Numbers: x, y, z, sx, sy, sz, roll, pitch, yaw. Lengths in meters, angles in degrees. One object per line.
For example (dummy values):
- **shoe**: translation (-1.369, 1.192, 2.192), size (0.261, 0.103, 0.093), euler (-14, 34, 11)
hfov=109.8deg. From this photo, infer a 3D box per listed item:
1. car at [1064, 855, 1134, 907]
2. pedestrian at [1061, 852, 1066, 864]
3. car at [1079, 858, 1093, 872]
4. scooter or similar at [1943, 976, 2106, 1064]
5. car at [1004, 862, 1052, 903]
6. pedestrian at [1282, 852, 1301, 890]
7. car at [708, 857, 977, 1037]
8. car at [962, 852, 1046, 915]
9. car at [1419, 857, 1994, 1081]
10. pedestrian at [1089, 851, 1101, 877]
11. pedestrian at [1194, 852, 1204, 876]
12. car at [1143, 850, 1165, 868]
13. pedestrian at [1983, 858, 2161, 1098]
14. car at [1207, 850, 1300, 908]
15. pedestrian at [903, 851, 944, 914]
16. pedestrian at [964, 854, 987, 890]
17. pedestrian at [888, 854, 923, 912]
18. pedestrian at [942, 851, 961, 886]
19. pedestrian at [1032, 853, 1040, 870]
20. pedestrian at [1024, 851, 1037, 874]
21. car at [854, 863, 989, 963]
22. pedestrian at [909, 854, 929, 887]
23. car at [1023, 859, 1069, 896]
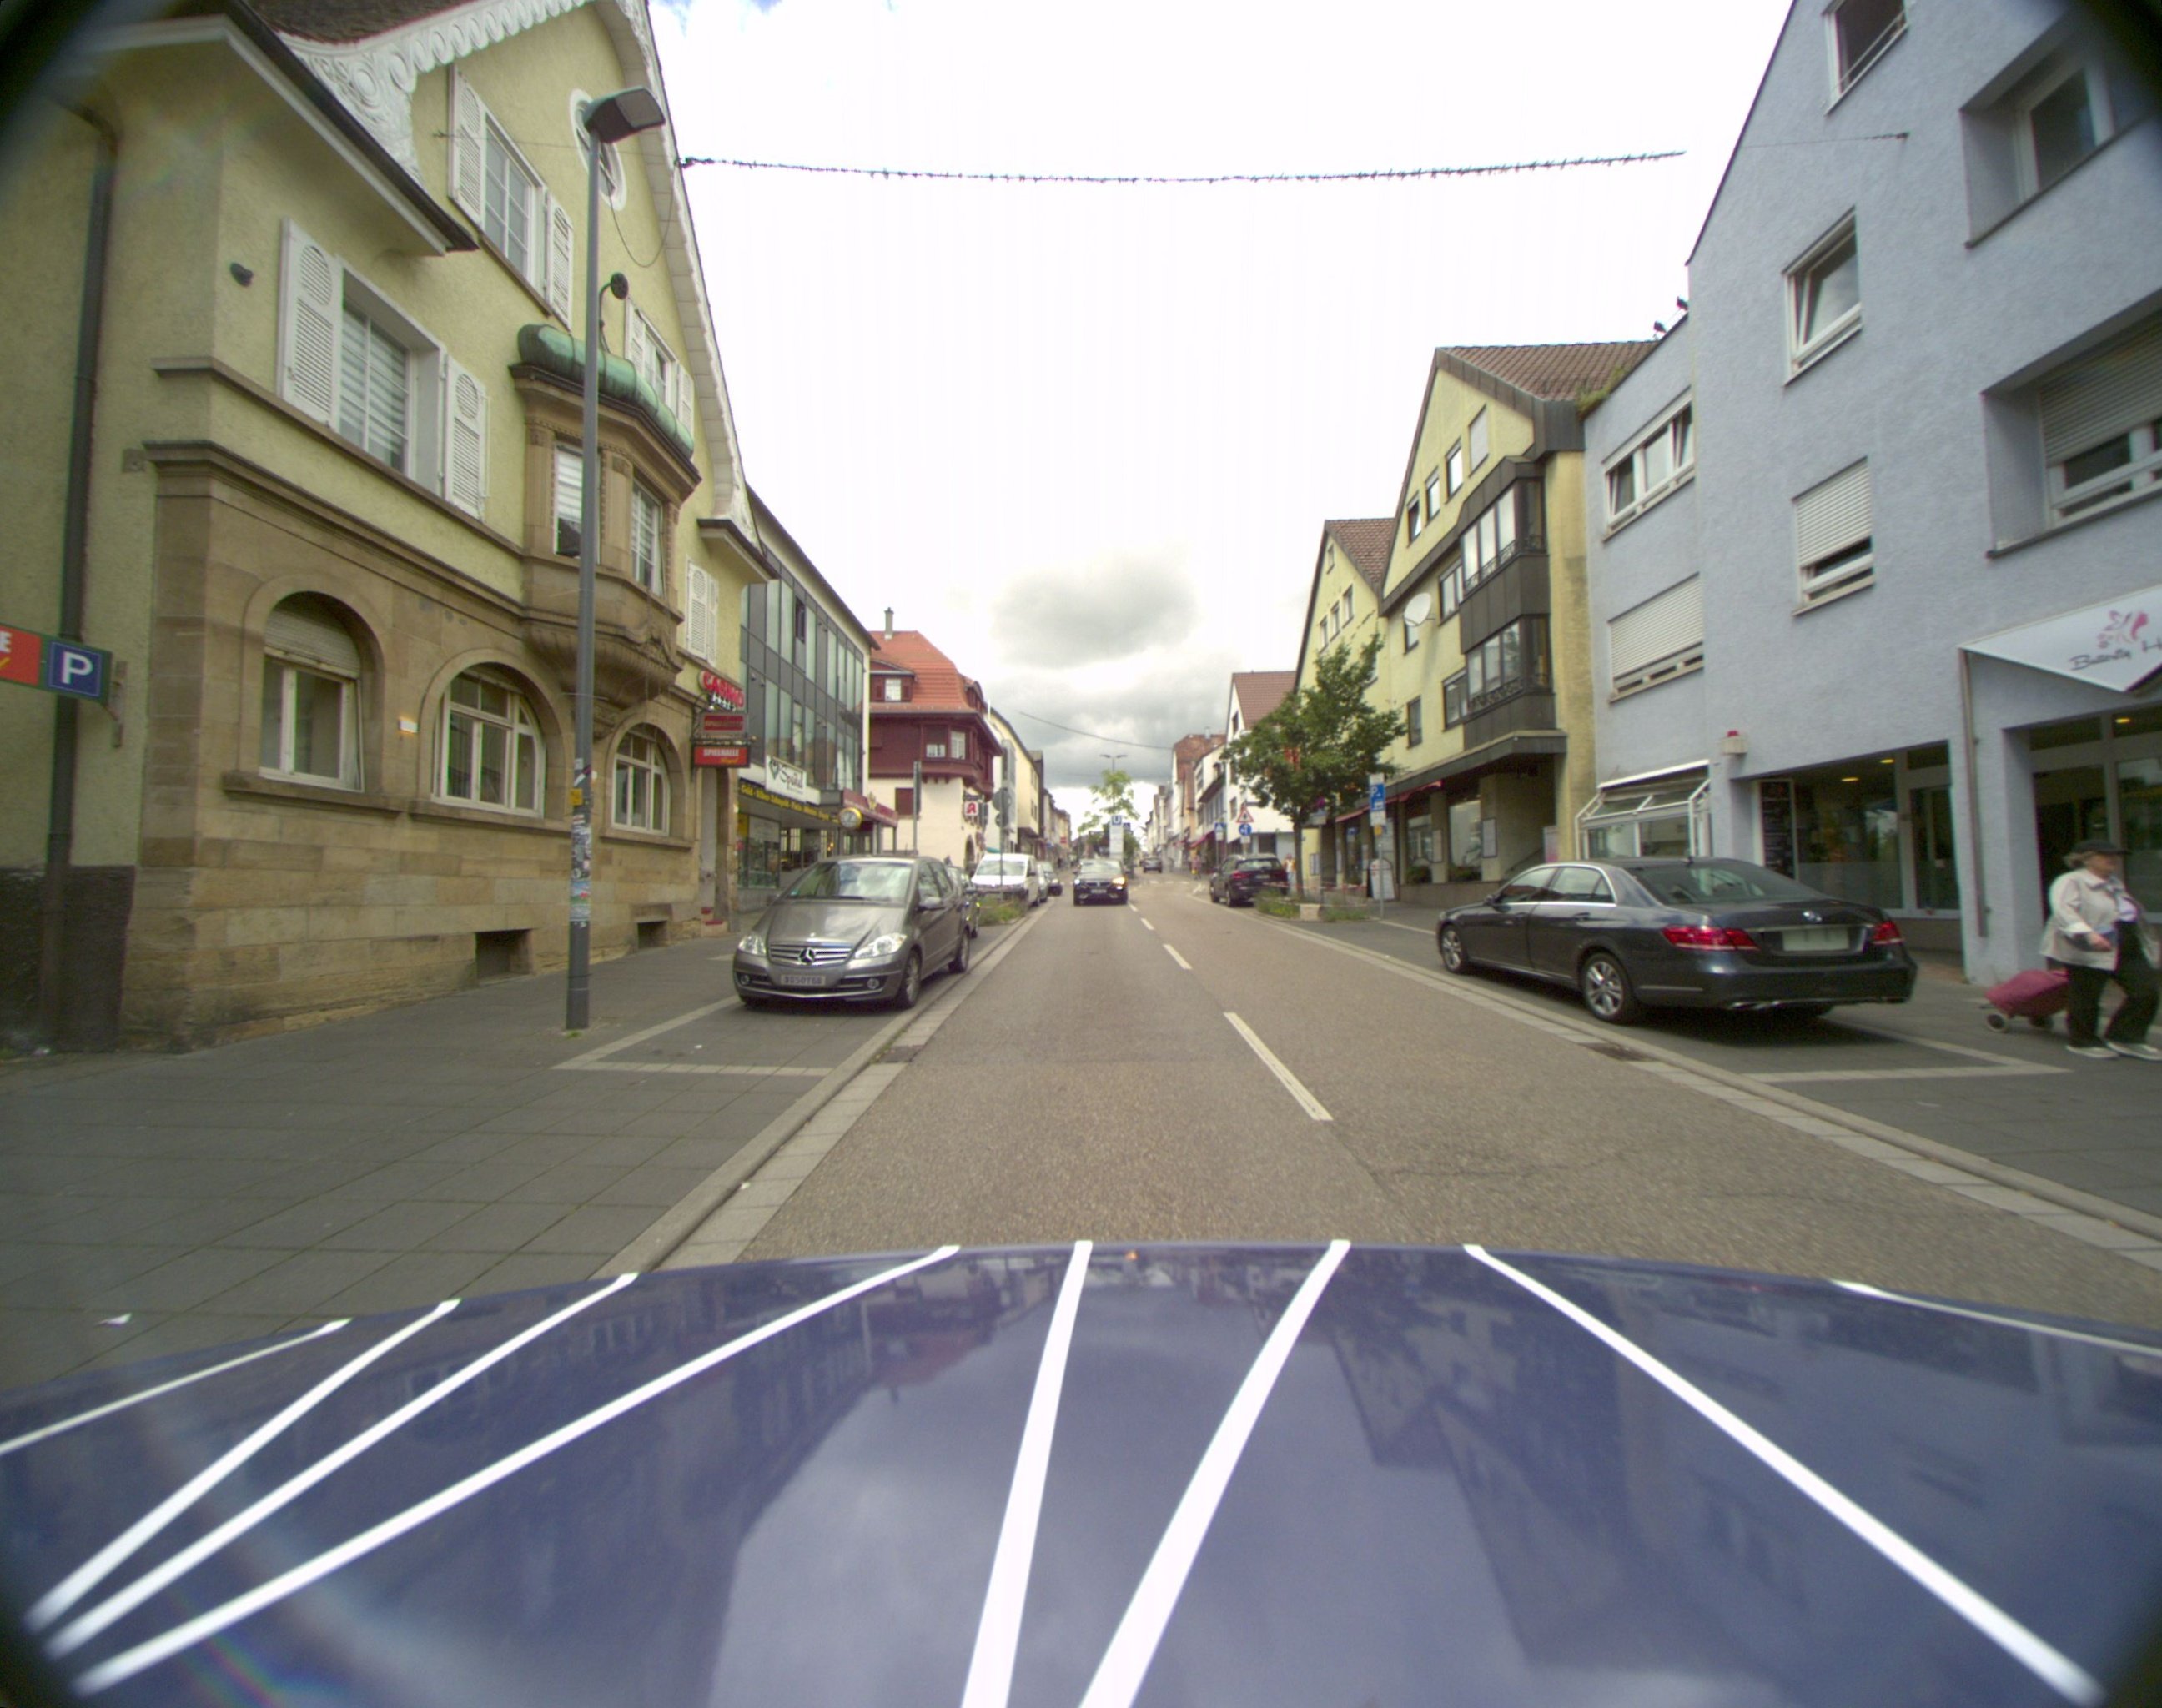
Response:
- **car**: translation (0.717, 0.883, 26.814), size (1.913, 1.560, 4.374), euler (-3, 0, 8)
- **pedestrian**: translation (-2.512, 0.554, 107.600), size (0.663, 1.696, 0.780), euler (0, 1, -1)
- **car**: translation (0.741, 1.620, 115.309), size (1.998, 2.002, 4.000), euler (-1, 0, 2)
- **scooter or similar**: translation (7.190, 1.254, 5.816), size (0.526, 0.516, 0.573), euler (-3, 1, 0)
- **car**: translation (-2.004, 1.062, 29.669), size (1.707, 1.459, 3.999), euler (0, 0, -2)
- **pedestrian**: translation (9.780, 0.795, 35.346), size (0.638, 1.728, 0.835), euler (1, 1, -1)
- **car**: translation (-2.485, 0.866, 8.950), size (1.752, 1.598, 3.801), euler (1, 0, 4)
- **car**: translation (-2.366, 0.857, 24.556), size (1.881, 1.789, 4.733), euler (-1, 0, 4)
- **car**: translation (5.601, 0.842, 7.906), size (1.931, 1.484, 4.842), euler (-3, 0, 0)
- **pedestrian**: translation (0.941, 0.679, 51.715), size (0.676, 1.791, 0.787), euler (-1, 1, -12)
- **pedestrian**: translation (8.598, 0.727, 55.342), size (0.696, 1.730, 0.825), euler (0, 1, 3)
- **car**: translation (7.329, 0.465, 76.405), size (1.967, 1.612, 4.356), euler (2, 1, 3)
- **pedestrian**: translation (7.062, 0.783, 5.180), size (0.828, 1.455, 0.810), euler (-3, 1, 0)
- **car**: translation (5.605, 0.774, 25.295), size (2.011, 1.683, 4.607), euler (-2, 0, 0)
- **pedestrian**: translation (-4.249, 0.759, 20.547), size (0.825, 1.656, 0.802), euler (-1, 1, 7)
- **pedestrian**: translation (-5.164, 0.868, 37.273), size (0.865, 1.697, 0.945), euler (0, 1, 7)
- **pedestrian**: translation (-5.368, 0.879, 23.237), size (0.798, 1.717, 1.053), euler (0, 1, 1)
- **pedestrian**: translation (-6.712, 0.755, 39.502), size (0.776, 1.759, 0.817), euler (-1, 1, 2)
- **pedestrian**: translation (-4.634, 0.781, 78.846), size (0.759, 1.663, 0.780), euler (2, 0, -1)
- **pedestrian**: translation (-3.840, 0.633, 57.608), size (0.987, 1.777, 0.919), euler (0, 1, -4)
- **car**: translation (-2.768, 0.969, 13.997), size (1.753, 1.500, 3.873), euler (1, 0, -2)
- **pedestrian**: translation (-8.233, 0.831, 38.598), size (0.774, 1.636, 0.870), euler (1, 1, 7)
- **car**: translation (-1.554, 1.025, 35.312), size (1.807, 1.546, 3.954), euler (-2, 0, 1)
